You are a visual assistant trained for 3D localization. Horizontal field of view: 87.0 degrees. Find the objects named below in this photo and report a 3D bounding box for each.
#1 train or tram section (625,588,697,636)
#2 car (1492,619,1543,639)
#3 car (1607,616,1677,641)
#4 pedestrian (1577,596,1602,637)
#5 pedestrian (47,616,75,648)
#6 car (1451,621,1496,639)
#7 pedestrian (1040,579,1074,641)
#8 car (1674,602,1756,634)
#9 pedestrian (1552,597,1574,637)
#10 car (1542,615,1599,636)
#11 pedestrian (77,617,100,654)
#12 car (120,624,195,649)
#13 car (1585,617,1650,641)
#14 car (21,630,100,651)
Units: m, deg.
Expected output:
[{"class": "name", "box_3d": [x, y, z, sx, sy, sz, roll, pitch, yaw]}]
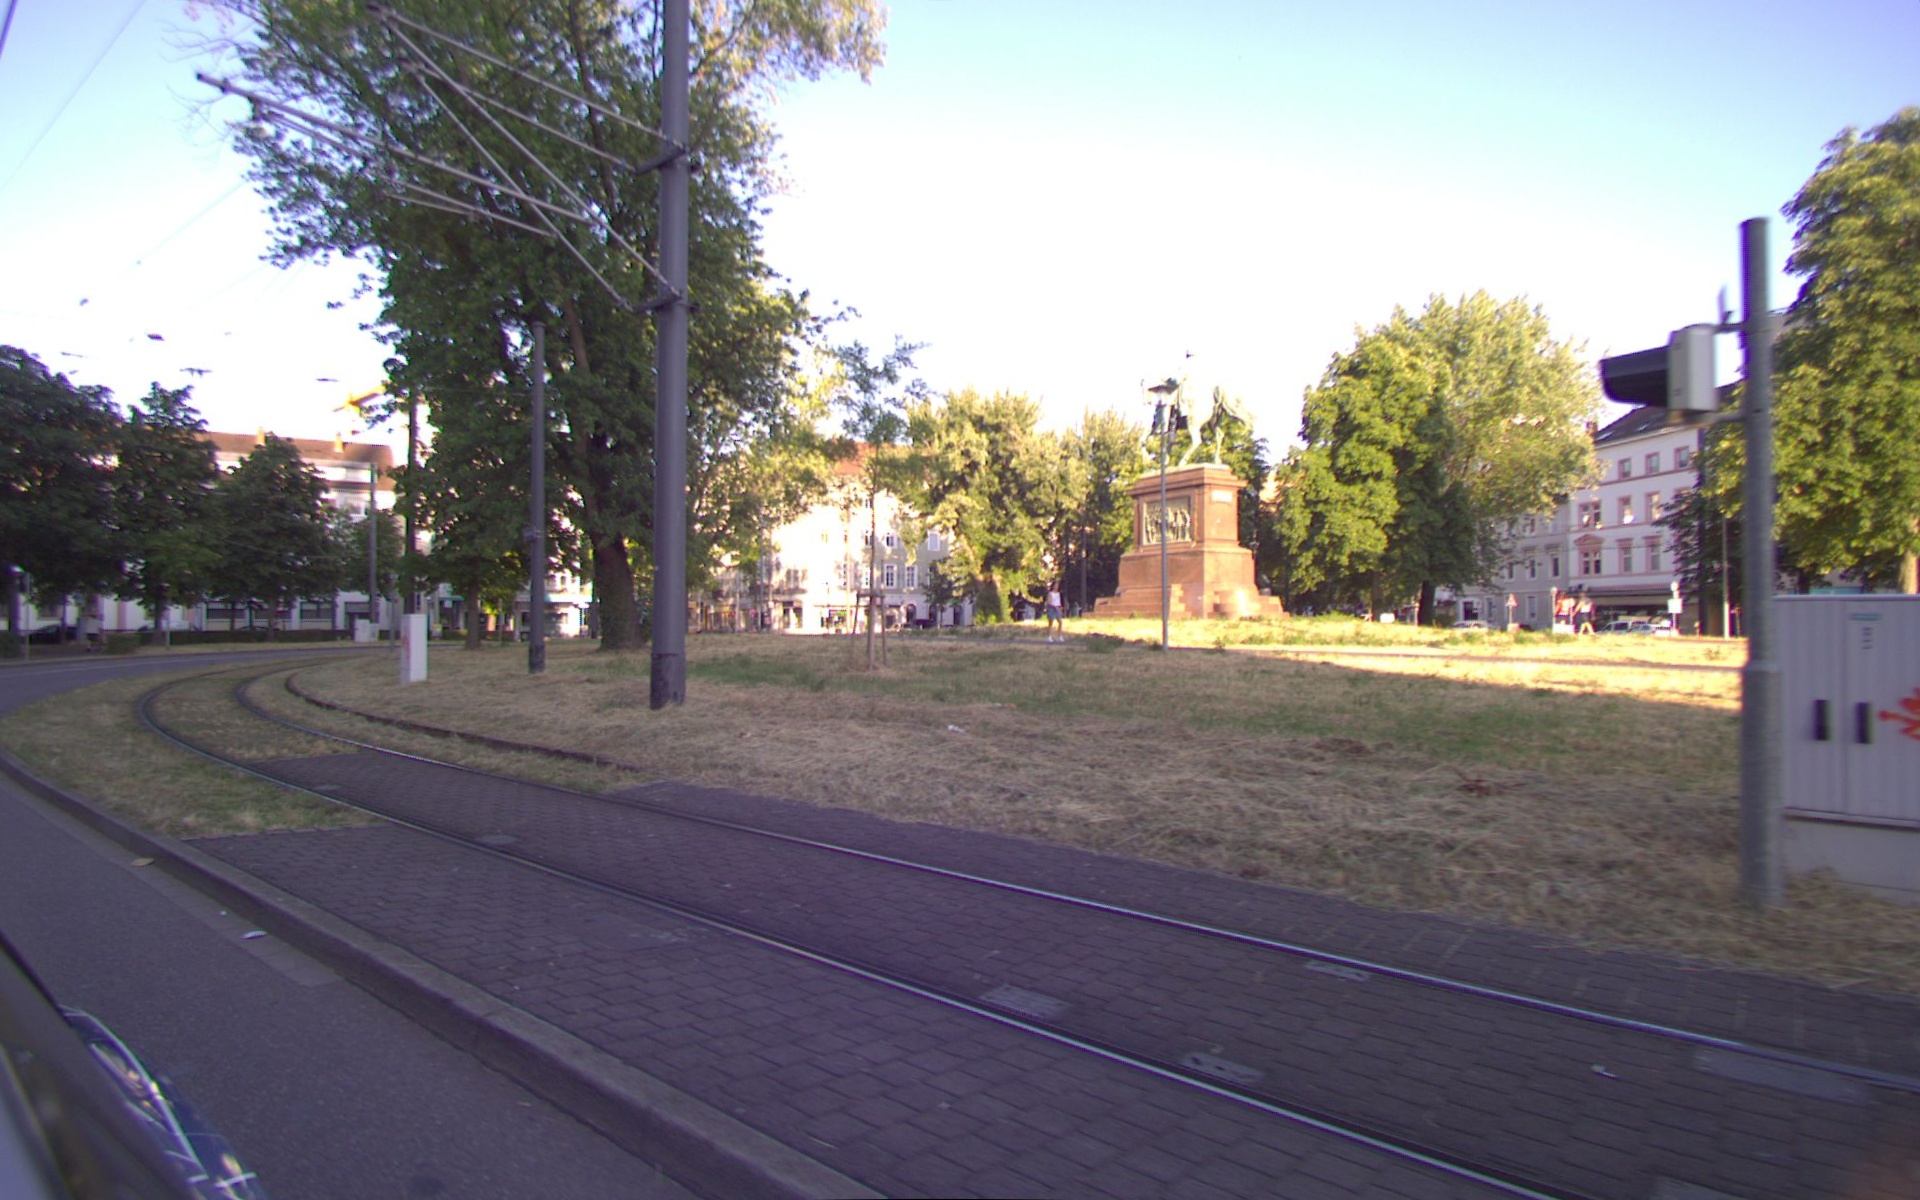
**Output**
[{"class": "train or tram section", "box_3d": [-23.969, 1.003, 81.940, 2.905, 3.611, 13.380, 0, -1, -5]}, {"class": "car", "box_3d": [47.342, 2.492, 86.018, 1.770, 1.592, 4.004, 0, -3, -5]}, {"class": "car", "box_3d": [46.052, 1.966, 68.418, 1.770, 1.592, 4.004, 0, -3, -5]}, {"class": "pedestrian", "box_3d": [24.436, 0.652, 39.284, 0.609, 1.593, 0.555, 1, -3, -29]}, {"class": "pedestrian", "box_3d": [-56.789, 2.013, 63.918, 0.818, 2.029, 1.009, -1, -3, -1]}, {"class": "car", "box_3d": [46.749, 2.775, 92.272, 1.770, 1.592, 4.004, 0, -3, -5]}, {"class": "pedestrian", "box_3d": [2.707, 0.292, 28.190, 0.469, 1.703, 0.836, 2, -3, -45]}, {"class": "car", "box_3d": [49.395, 1.212, 66.343, 1.732, 1.959, 4.216, 0, -3, -8]}, {"class": "pedestrian", "box_3d": [23.501, 0.675, 39.431, 0.446, 1.524, 0.555, 1, -3, -29]}, {"class": "car", "box_3d": [48.006, 2.018, 79.682, 1.770, 1.592, 4.004, 0, -3, -5]}, {"class": "pedestrian", "box_3d": [-41.230, 1.670, 47.877, 0.758, 1.729, 0.786, 2, -4, -44]}, {"class": "car", "box_3d": [-56.642, 2.597, 71.493, 3.945, 1.738, 1.706, 1, -3, -32]}, {"class": "car", "box_3d": [48.297, 2.170, 74.384, 1.732, 1.676, 4.007, 0, -3, -8]}, {"class": "car", "box_3d": [-61.037, 2.754, 68.742, 3.719, 1.346, 1.732, 1, -3, -32]}]
